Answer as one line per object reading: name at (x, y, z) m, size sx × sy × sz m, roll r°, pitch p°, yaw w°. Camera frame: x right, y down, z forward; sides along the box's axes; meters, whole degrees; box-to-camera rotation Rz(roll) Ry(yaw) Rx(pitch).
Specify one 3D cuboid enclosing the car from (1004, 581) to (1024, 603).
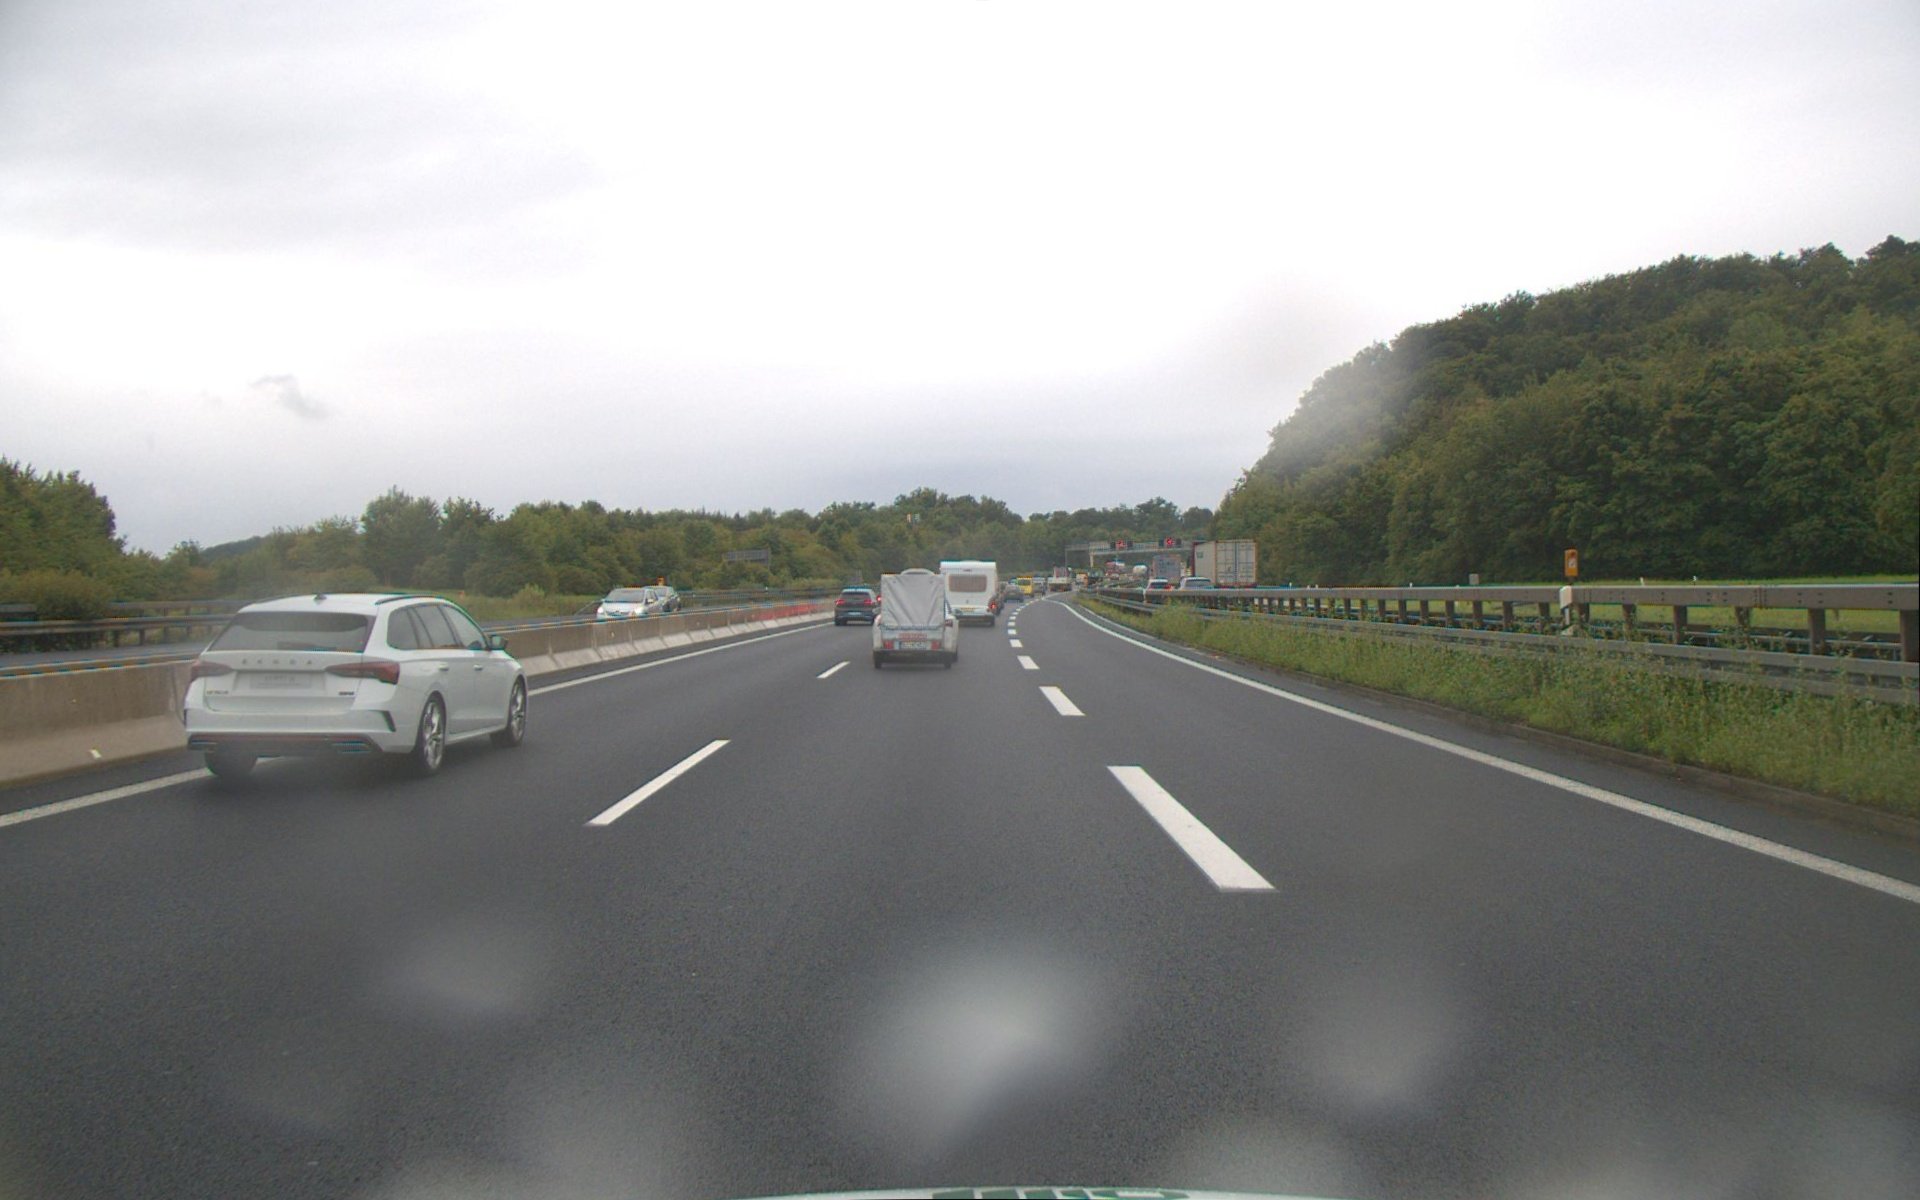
car at (4.687, -0.688, 143.600) m, size 1.641 × 1.844 × 4.001 m, roll -1°, pitch 0°, yaw 2°

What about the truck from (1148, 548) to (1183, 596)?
truck at (21.713, -2.868, 175.097) m, size 3.147 × 4.748 × 13.040 m, roll -1°, pitch 0°, yaw 5°

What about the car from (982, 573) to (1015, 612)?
car at (2.085, -0.401, 90.870) m, size 1.642 × 2.103 × 3.999 m, roll -1°, pitch 0°, yaw -1°

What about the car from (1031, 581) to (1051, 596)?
car at (9.504, -1.305, 193.363) m, size 1.994 × 1.712 × 4.003 m, roll -1°, pitch 0°, yaw 7°

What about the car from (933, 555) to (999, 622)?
car at (0.299, -0.460, 68.300) m, size 2.455 × 2.630 × 5.701 m, roll -1°, pitch 0°, yaw 2°

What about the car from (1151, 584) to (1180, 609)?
car at (13.841, -0.234, 111.687) m, size 1.732 × 1.638 × 4.646 m, roll -1°, pitch 0°, yaw 5°

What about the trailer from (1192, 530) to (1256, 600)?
trailer at (16.006, -2.007, 100.967) m, size 2.549 × 3.962 × 12.495 m, roll -1°, pitch 0°, yaw 3°

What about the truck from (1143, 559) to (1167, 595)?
truck at (26.279, -3.030, 222.830) m, size 3.147 × 4.748 × 13.042 m, roll -1°, pitch 0°, yaw 7°

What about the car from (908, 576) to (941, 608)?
car at (-2.173, -0.502, 103.370) m, size 1.953 × 1.952 × 4.000 m, roll -1°, pitch 0°, yaw 0°

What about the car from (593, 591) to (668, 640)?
car at (-12.350, 0.557, 62.183) m, size 1.953 × 1.741 × 4.303 m, roll -1°, pitch 0°, yaw 0°

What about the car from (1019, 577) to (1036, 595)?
car at (7.007, -1.467, 172.492) m, size 1.640 × 1.844 × 4.002 m, roll -1°, pitch 0°, yaw 4°

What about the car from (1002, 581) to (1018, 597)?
car at (6.578, -1.465, 217.512) m, size 1.952 × 2.049 × 4.001 m, roll -1°, pitch 0°, yaw 2°

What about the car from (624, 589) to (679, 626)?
car at (-14.861, 0.352, 79.898) m, size 1.853 × 1.679 × 4.601 m, roll -1°, pitch 0°, yaw -2°

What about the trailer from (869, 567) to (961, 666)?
trailer at (-0.857, 0.315, 33.312) m, size 1.641 × 1.844 × 4.000 m, roll -1°, pitch 0°, yaw 1°

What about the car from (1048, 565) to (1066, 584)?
car at (13.448, -3.512, 228.310) m, size 2.463 × 2.619 × 5.314 m, roll -1°, pitch 0°, yaw 4°

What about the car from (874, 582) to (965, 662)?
car at (-0.832, 0.456, 36.638) m, size 1.781 × 1.644 × 4.778 m, roll -1°, pitch 0°, yaw 1°

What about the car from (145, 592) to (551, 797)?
car at (-5.065, 0.694, 14.488) m, size 1.781 × 1.481 × 4.777 m, roll -1°, pitch 0°, yaw 0°

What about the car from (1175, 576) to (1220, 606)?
car at (11.808, -0.446, 82.375) m, size 1.633 × 1.407 × 4.126 m, roll -3°, pitch 0°, yaw 0°

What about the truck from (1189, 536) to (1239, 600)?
truck at (16.345, -1.991, 106.778) m, size 2.561 × 3.952 × 6.394 m, roll -1°, pitch 0°, yaw 3°

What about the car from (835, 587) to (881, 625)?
car at (-4.184, 0.233, 68.104) m, size 1.641 × 1.481 × 4.000 m, roll -1°, pitch 0°, yaw 0°

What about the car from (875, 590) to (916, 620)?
car at (-3.339, 0.249, 86.080) m, size 1.728 × 1.481 × 4.002 m, roll -1°, pitch 0°, yaw 3°
